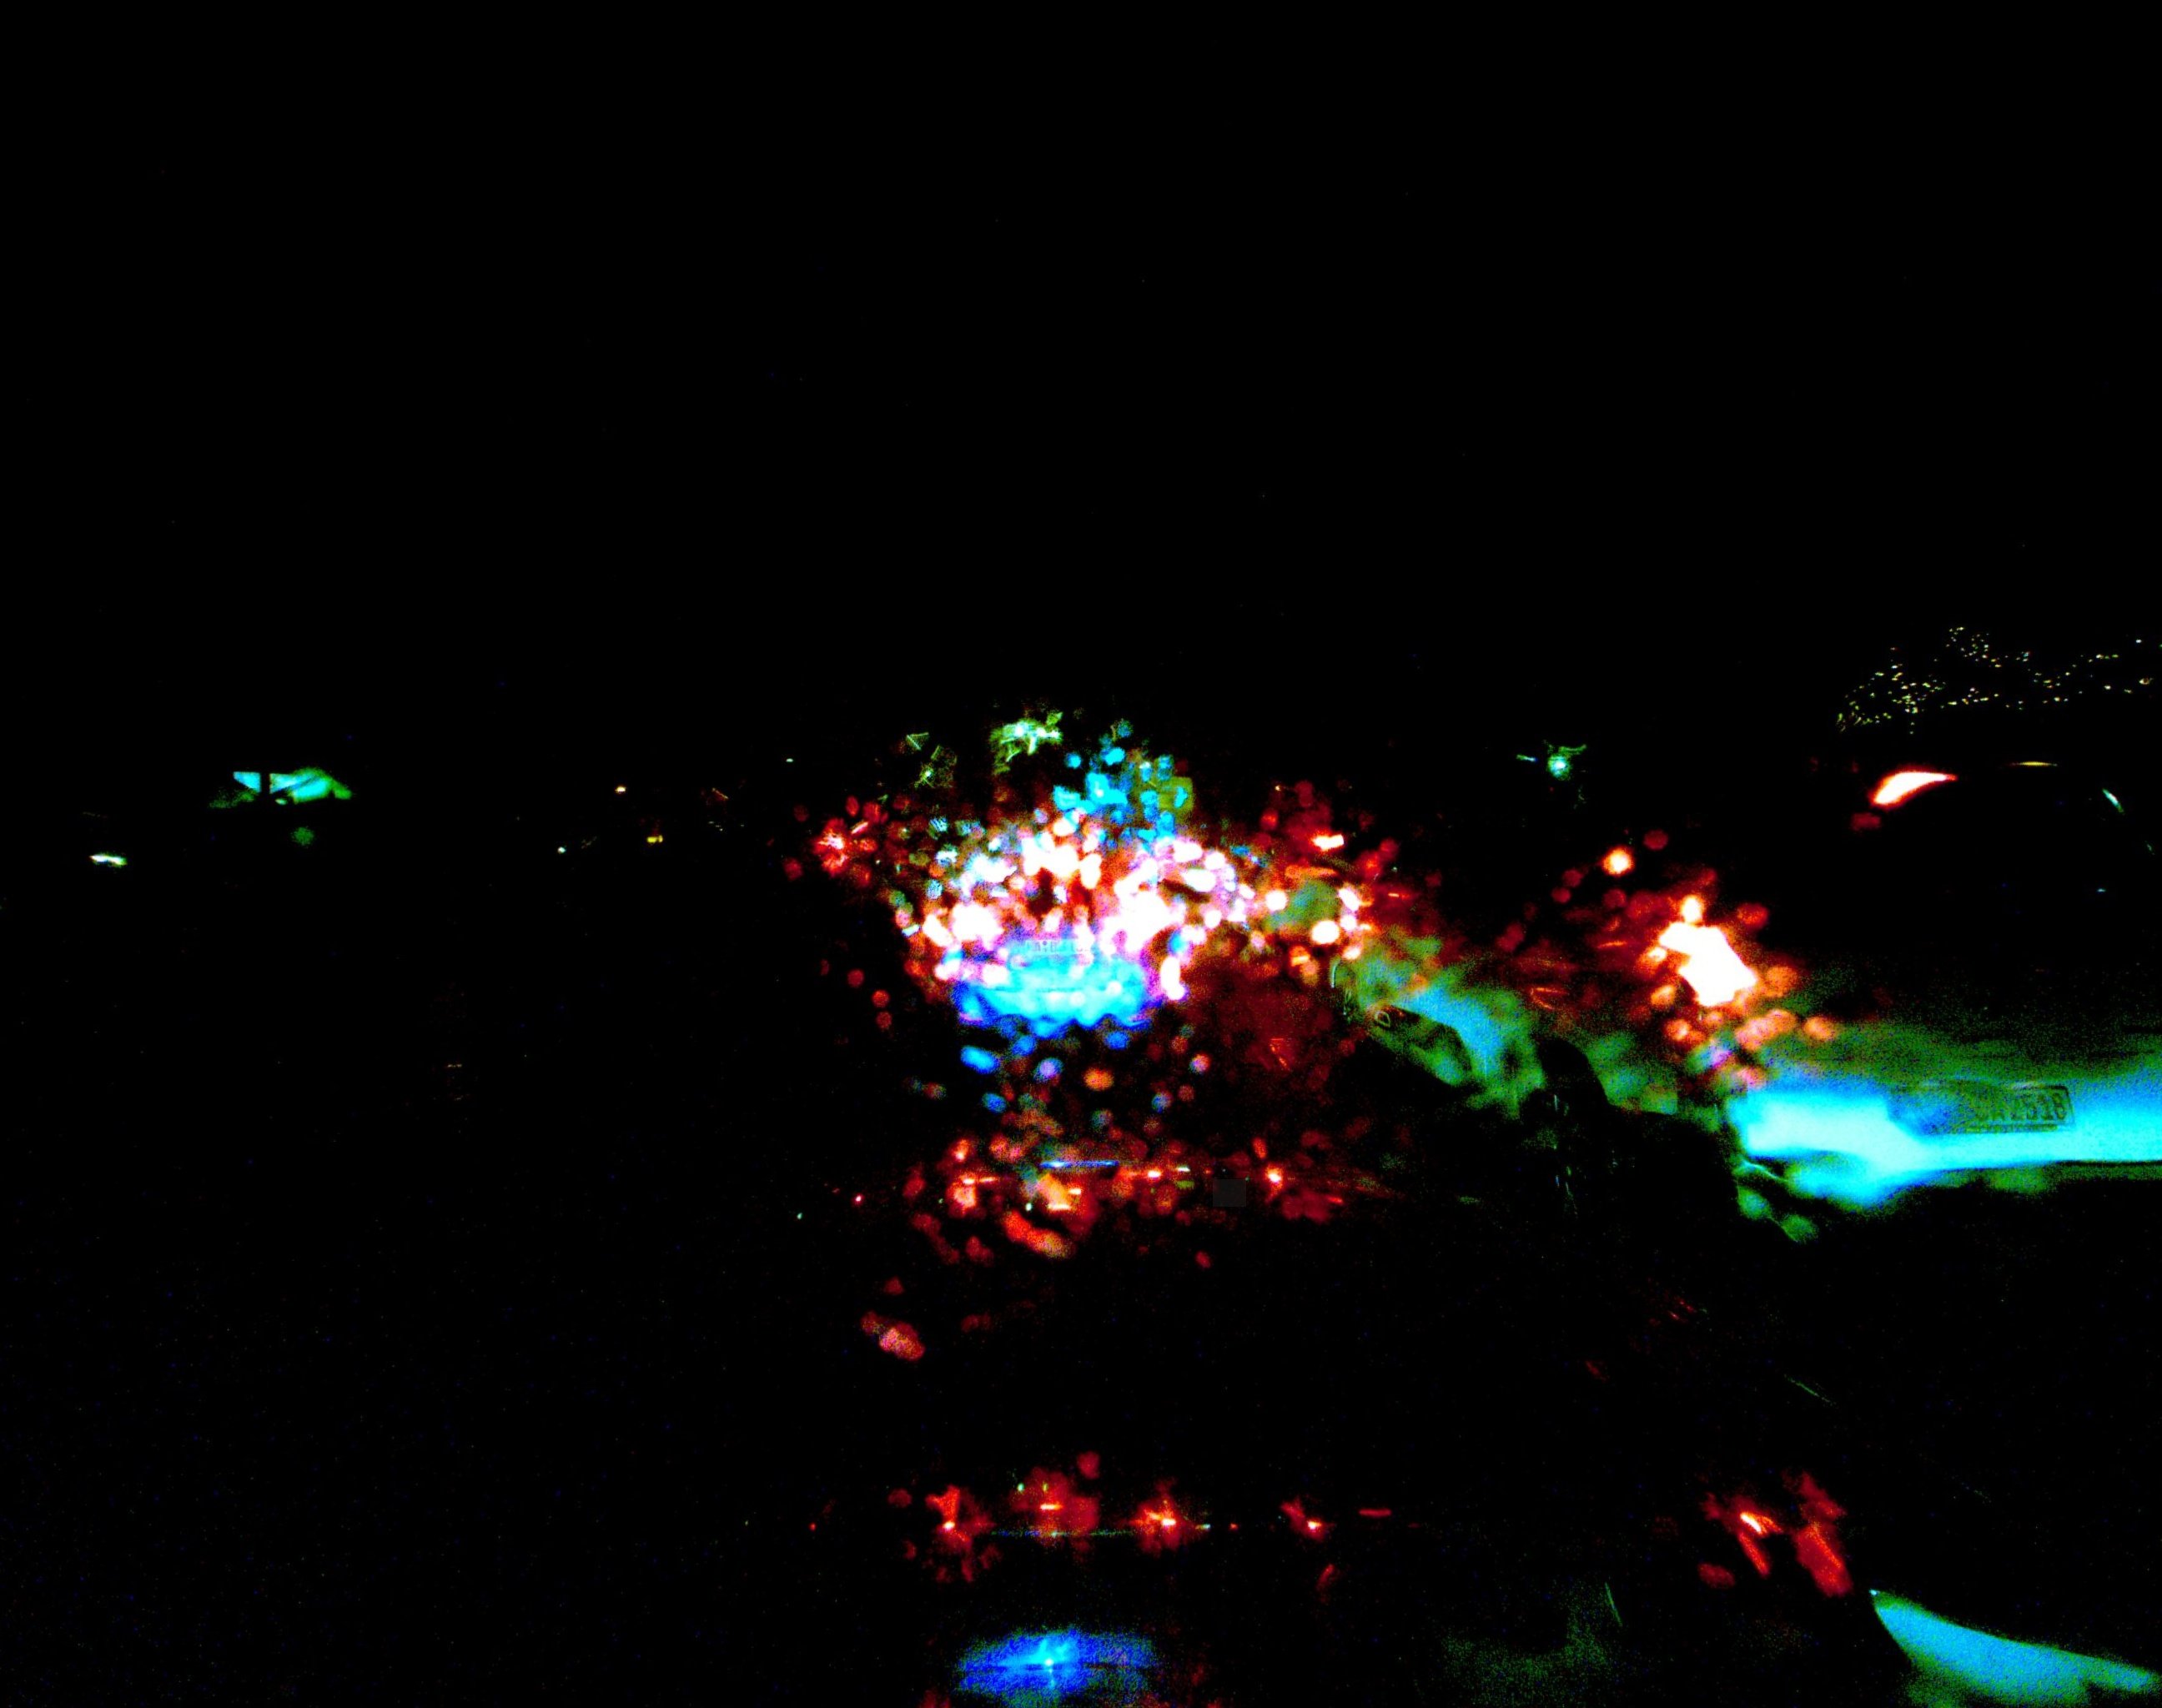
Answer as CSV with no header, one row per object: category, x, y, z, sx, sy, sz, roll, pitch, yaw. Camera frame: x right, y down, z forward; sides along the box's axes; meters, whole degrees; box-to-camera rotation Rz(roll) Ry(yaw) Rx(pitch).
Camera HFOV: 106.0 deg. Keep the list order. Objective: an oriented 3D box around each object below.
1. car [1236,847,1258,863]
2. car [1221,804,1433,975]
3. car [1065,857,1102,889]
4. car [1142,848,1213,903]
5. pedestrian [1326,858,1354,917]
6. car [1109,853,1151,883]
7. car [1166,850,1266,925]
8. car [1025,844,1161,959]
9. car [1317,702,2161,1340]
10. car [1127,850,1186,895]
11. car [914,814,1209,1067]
car,19.103,0.114,93.780,1.857,1.646,3.965,-3,-1,2
car,3.291,0.442,11.768,1.961,2.047,4.001,0,-1,2
car,0.126,1.102,48.277,1.989,1.824,3.995,0,-1,-3
car,3.127,0.686,27.087,1.986,1.670,4.001,0,-1,2
pedestrian,7.479,0.960,23.519,0.621,1.701,0.541,0,-1,-1
car,2.602,0.742,43.775,1.853,1.544,3.927,0,-1,-2
car,3.283,0.779,20.555,1.986,1.718,4.001,0,-1,2
car,0.243,0.711,13.961,1.986,1.684,4.001,0,-1,2
car,2.818,0.504,4.561,1.845,1.865,4.342,0,-1,2
car,3.137,0.760,34.674,1.988,1.773,3.997,0,-1,-2
car,-0.095,0.608,7.799,2.007,1.717,4.452,0,-1,1
